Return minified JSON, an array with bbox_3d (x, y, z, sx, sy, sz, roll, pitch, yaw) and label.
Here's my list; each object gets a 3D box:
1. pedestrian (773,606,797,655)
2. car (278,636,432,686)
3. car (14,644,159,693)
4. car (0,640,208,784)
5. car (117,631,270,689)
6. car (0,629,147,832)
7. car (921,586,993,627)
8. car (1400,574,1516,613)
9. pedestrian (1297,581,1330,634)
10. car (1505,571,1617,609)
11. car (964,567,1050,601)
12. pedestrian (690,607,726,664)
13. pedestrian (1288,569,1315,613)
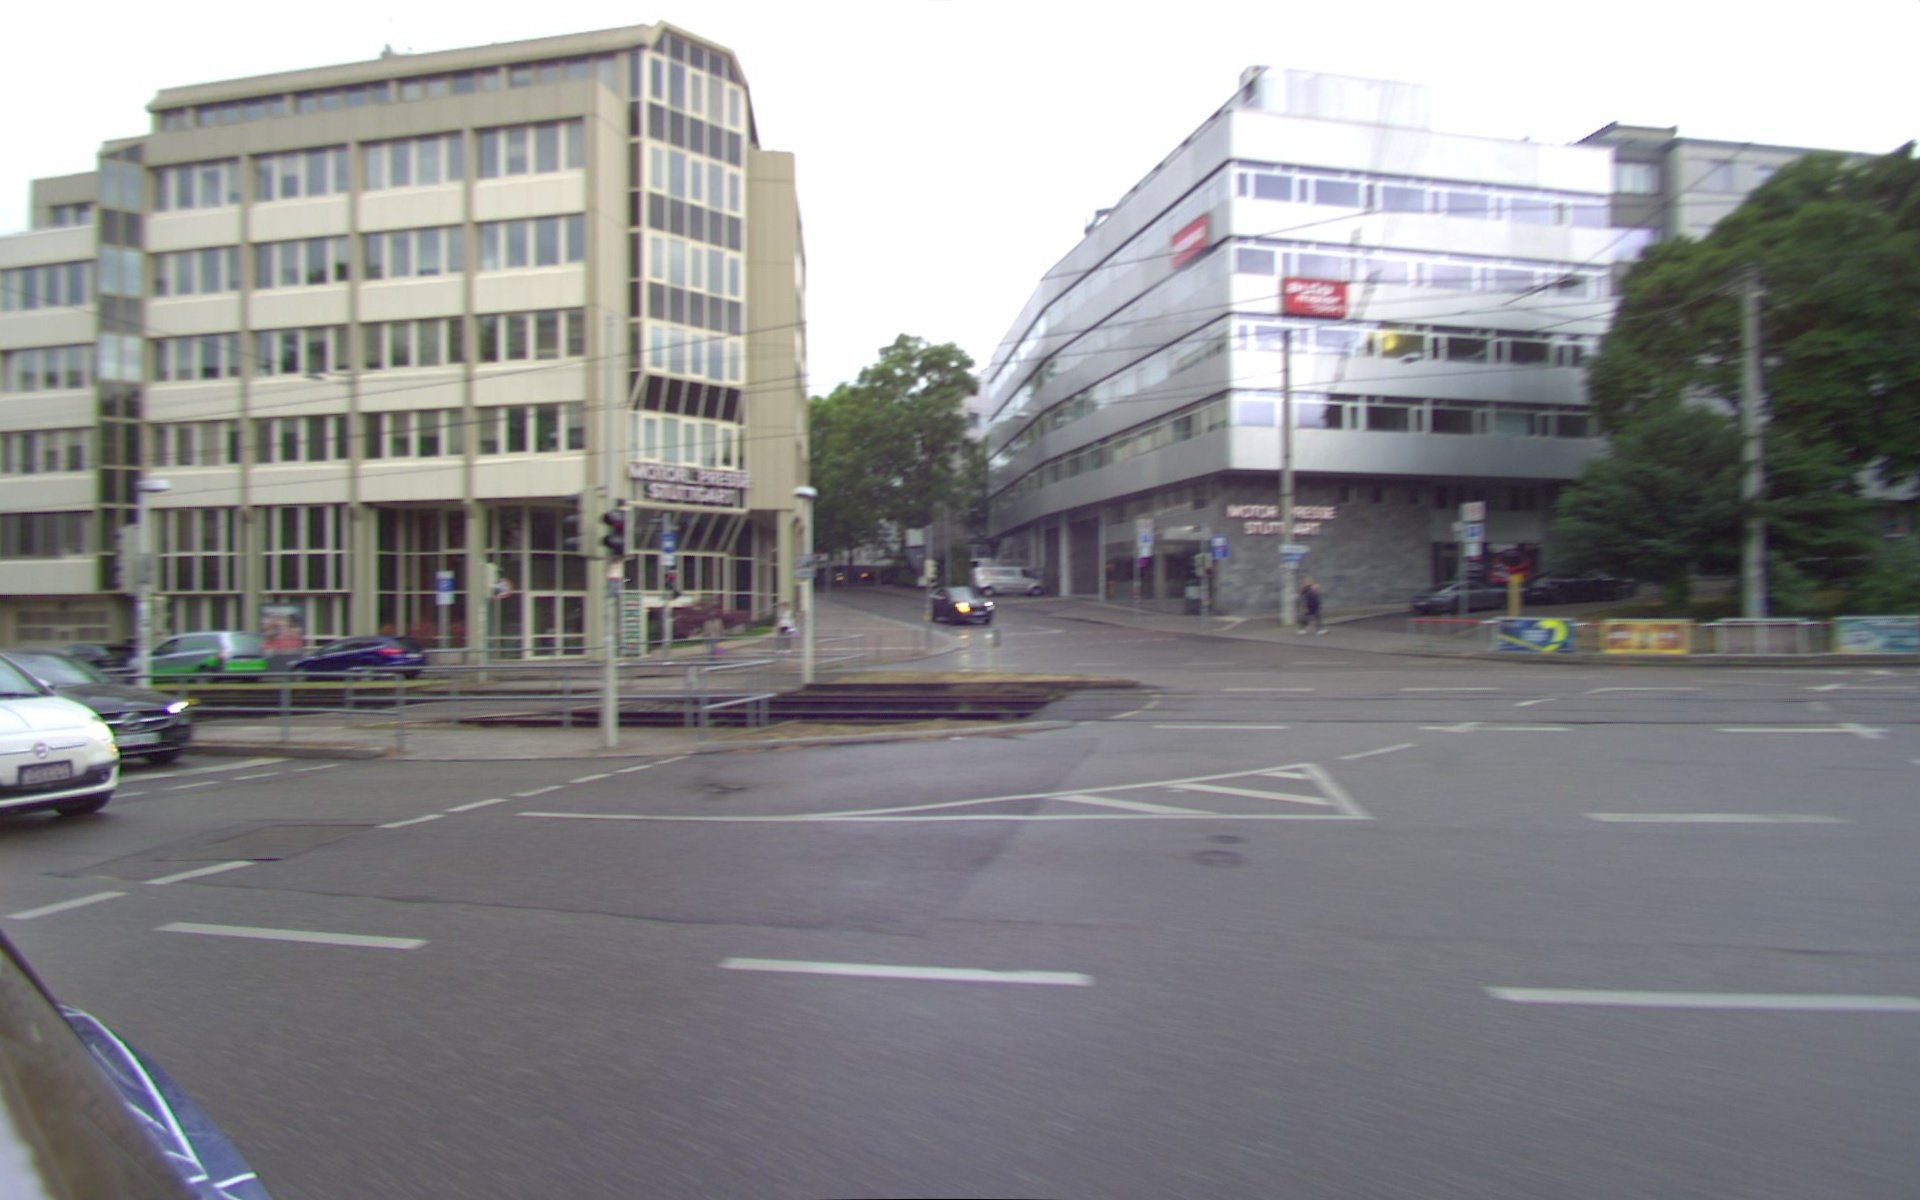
[{"bbox_3d":[-6.040,1.049,34.907,0.708,1.651,0.762,-1,0,-14],"label":"pedestrian"},{"bbox_3d":[-19.074,1.925,31.951,4.177,1.488,1.793,-2,-3,15],"label":"car"},{"bbox_3d":[-30.309,2.362,35.148,4.037,1.525,1.794,-2,0,14],"label":"car"},{"bbox_3d":[-11.293,1.251,11.957,4.443,1.453,1.789,-2,-3,21],"label":"car"},{"bbox_3d":[-25.586,2.002,33.840,4.174,1.759,1.795,-2,0,12],"label":"car"},{"bbox_3d":[-8.449,0.995,7.907,3.410,1.445,1.646,-2,-3,17],"label":"car"},{"bbox_3d":[-0.217,0.240,46.471,1.966,1.592,4.902,-2,3,-17],"label":"car"},{"bbox_3d":[20.483,-0.277,41.660,4.024,1.441,1.884,-2,-1,-17],"label":"car"},{"bbox_3d":[12.775,0.271,36.577,0.708,1.875,0.851,-1,0,-14],"label":"pedestrian"},{"bbox_3d":[25.583,-0.405,43.125,3.932,1.441,1.884,-2,-1,-17],"label":"car"},{"bbox_3d":[3.085,-1.054,67.225,5.327,2.029,2.003,-1,-3,-8],"label":"car"},{"bbox_3d":[-8.243,1.149,33.056,0.830,1.800,0.750,-1,0,38],"label":"pedestrian"},{"bbox_3d":[14.900,-0.395,44.132,0.748,1.874,0.721,-3,0,-11],"label":"pedestrian"}]
